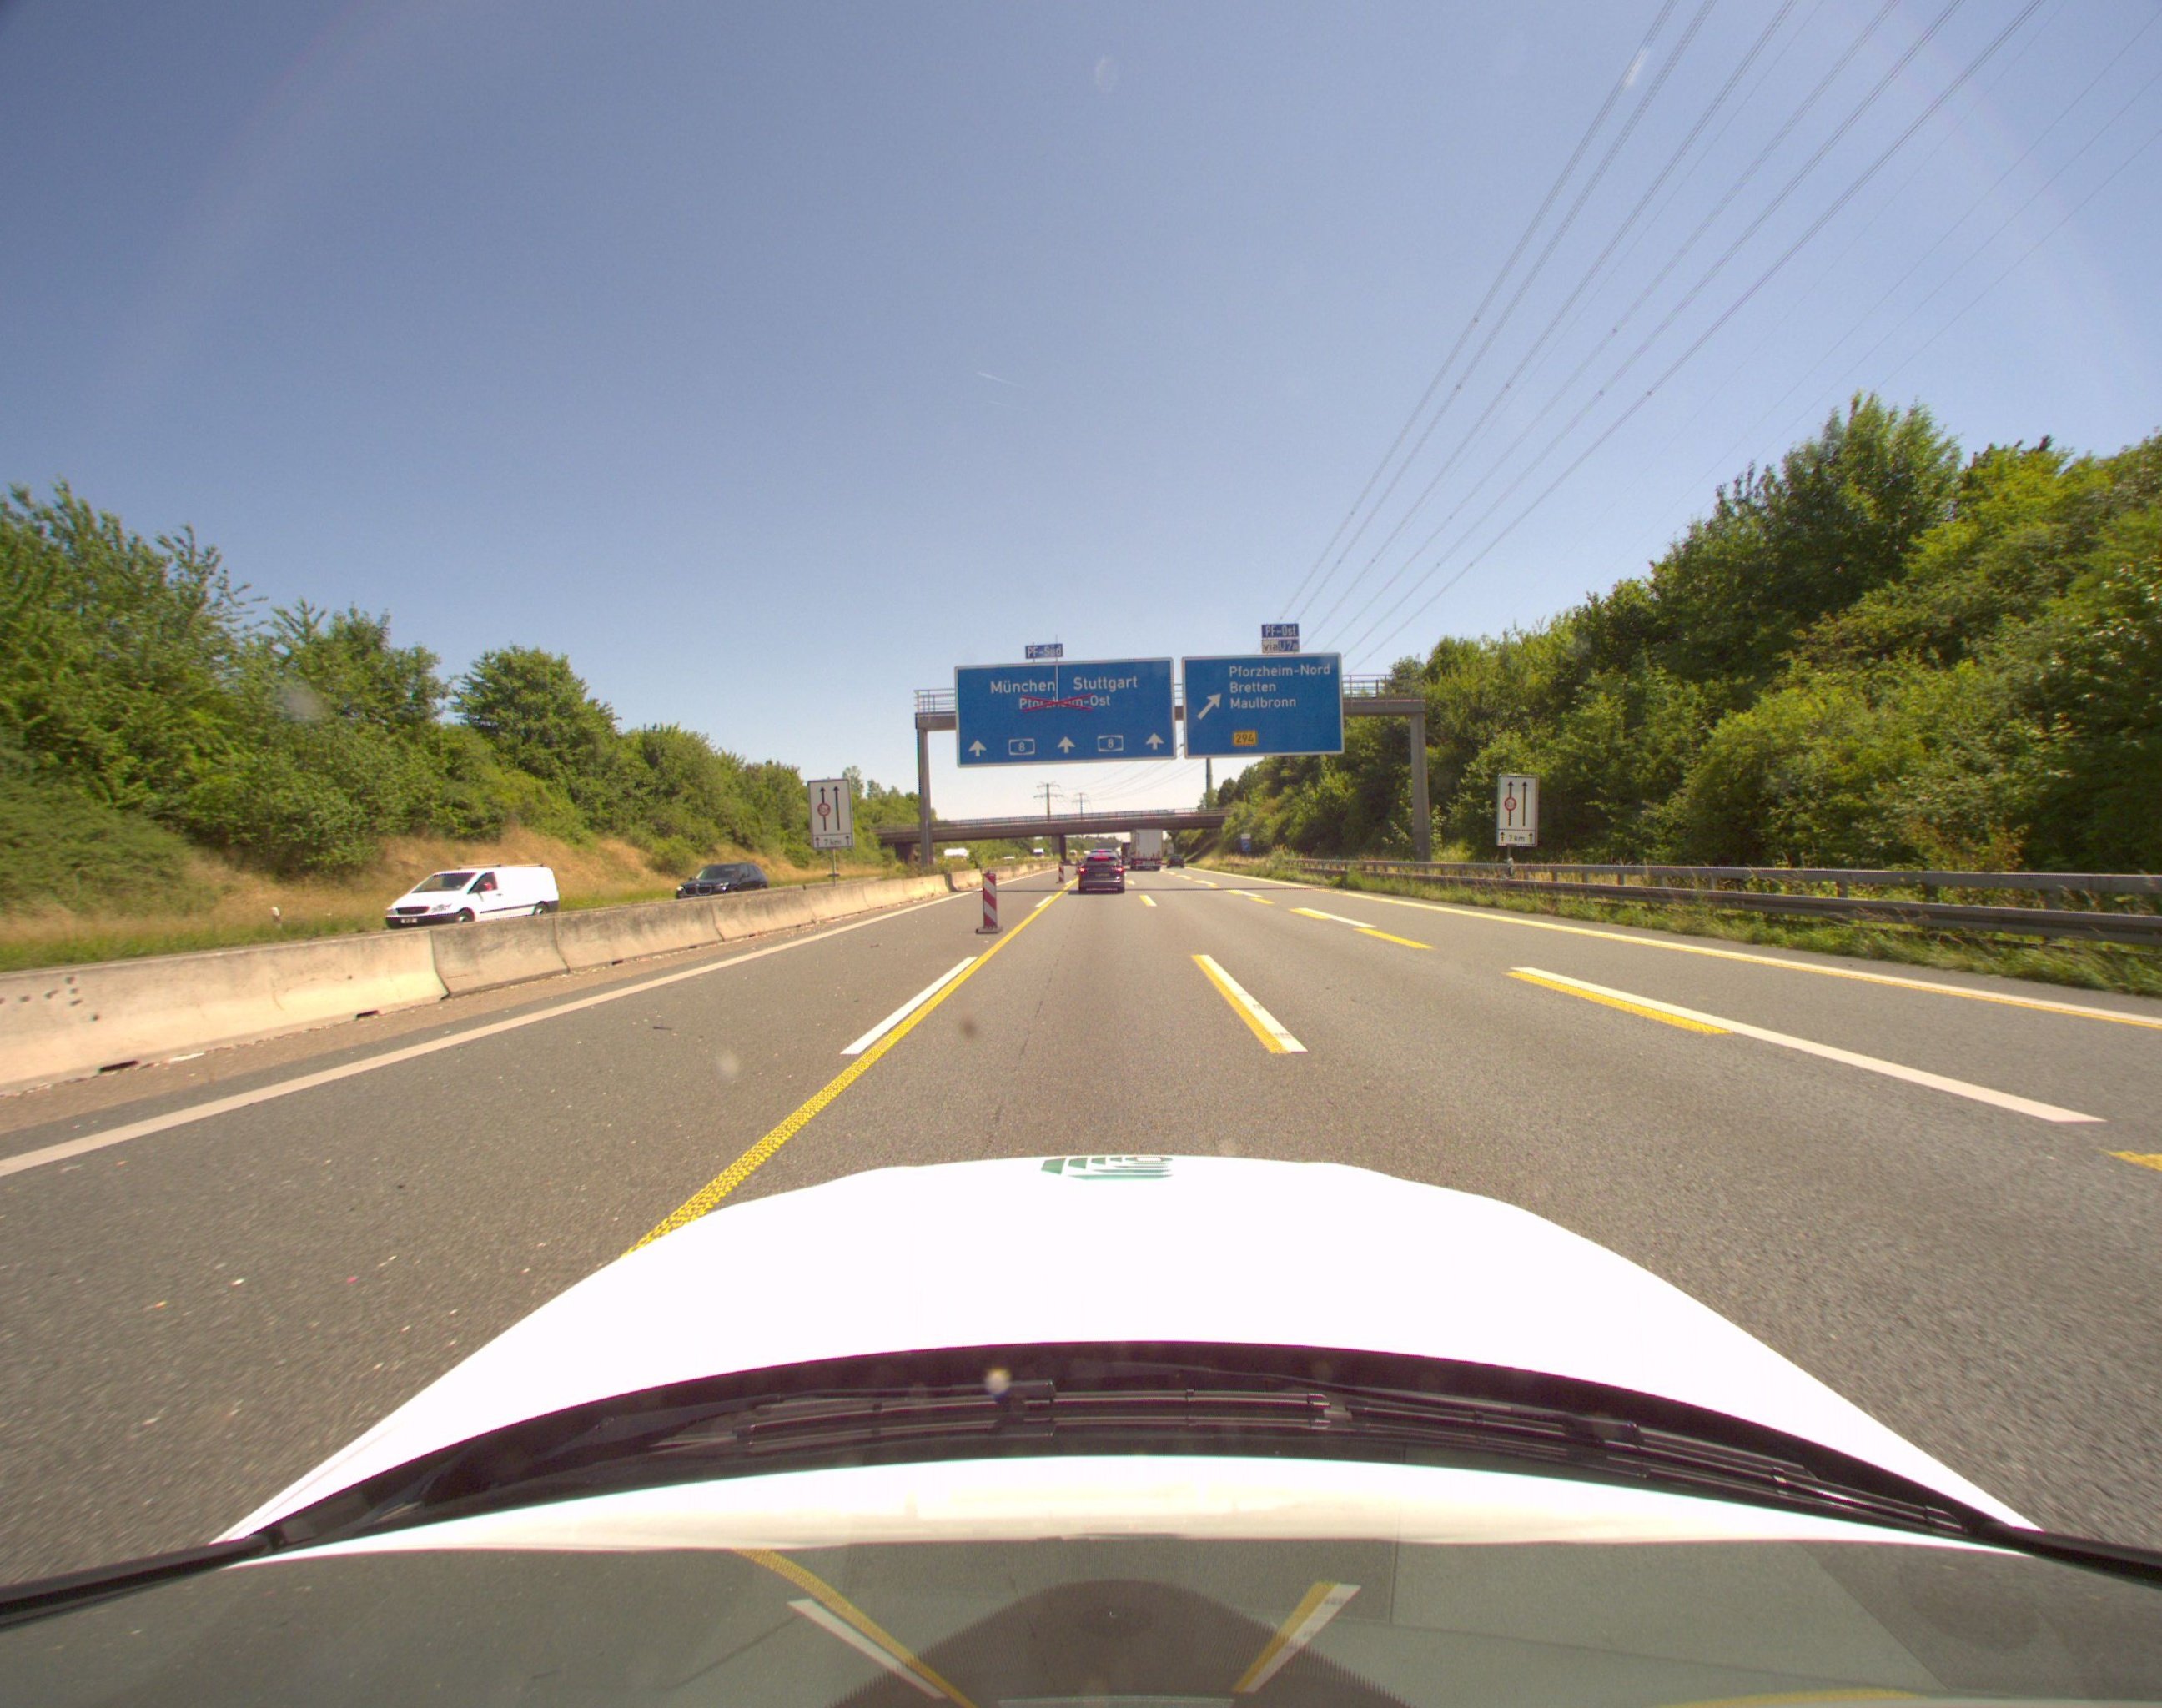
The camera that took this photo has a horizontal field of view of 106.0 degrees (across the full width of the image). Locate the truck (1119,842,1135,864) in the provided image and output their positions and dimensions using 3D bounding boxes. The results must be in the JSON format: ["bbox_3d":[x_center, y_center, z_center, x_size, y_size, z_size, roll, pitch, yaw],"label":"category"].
[{"bbox_3d":[9.026,-0.186,160.574,3.065,4.146,13.062,0,0,3],"label":"truck"}]

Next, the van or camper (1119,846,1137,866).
[{"bbox_3d":[7.157,0.278,124.152,2.576,2.968,6.088,0,0,3],"label":"van or camper"}]

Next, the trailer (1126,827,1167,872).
[{"bbox_3d":[6.282,-0.407,80.259,3.055,4.042,11.486,-1,0,0],"label":"trailer"}]

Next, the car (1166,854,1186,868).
[{"bbox_3d":[10.546,0.805,90.722,1.772,1.489,4.465,0,0,1],"label":"car"}]

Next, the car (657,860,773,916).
[{"bbox_3d":[-12.695,1.114,28.605,1.865,1.694,4.500,-2,0,2],"label":"car"}]

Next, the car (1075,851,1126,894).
[{"bbox_3d":[0.754,0.688,33.305,1.889,1.592,4.442,-2,0,0],"label":"car"}]

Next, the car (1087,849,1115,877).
[{"bbox_3d":[1.401,0.607,57.585,1.889,1.841,4.443,1,1,1],"label":"car"}]

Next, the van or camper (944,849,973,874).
[{"bbox_3d":[-16.052,0.947,107.282,2.426,3.147,7.628,-2,0,1],"label":"van or camper"}]

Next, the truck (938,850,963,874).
[{"bbox_3d":[-19.246,1.173,120.275,2.486,3.259,6.366,-2,0,1],"label":"truck"}]

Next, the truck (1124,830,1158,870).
[{"bbox_3d":[6.314,-0.399,87.107,3.015,4.087,7.795,-1,0,0],"label":"truck"}]

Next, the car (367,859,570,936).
[{"bbox_3d":[-18.709,1.230,25.324,1.923,2.013,5.597,-2,0,1],"label":"car"}]
